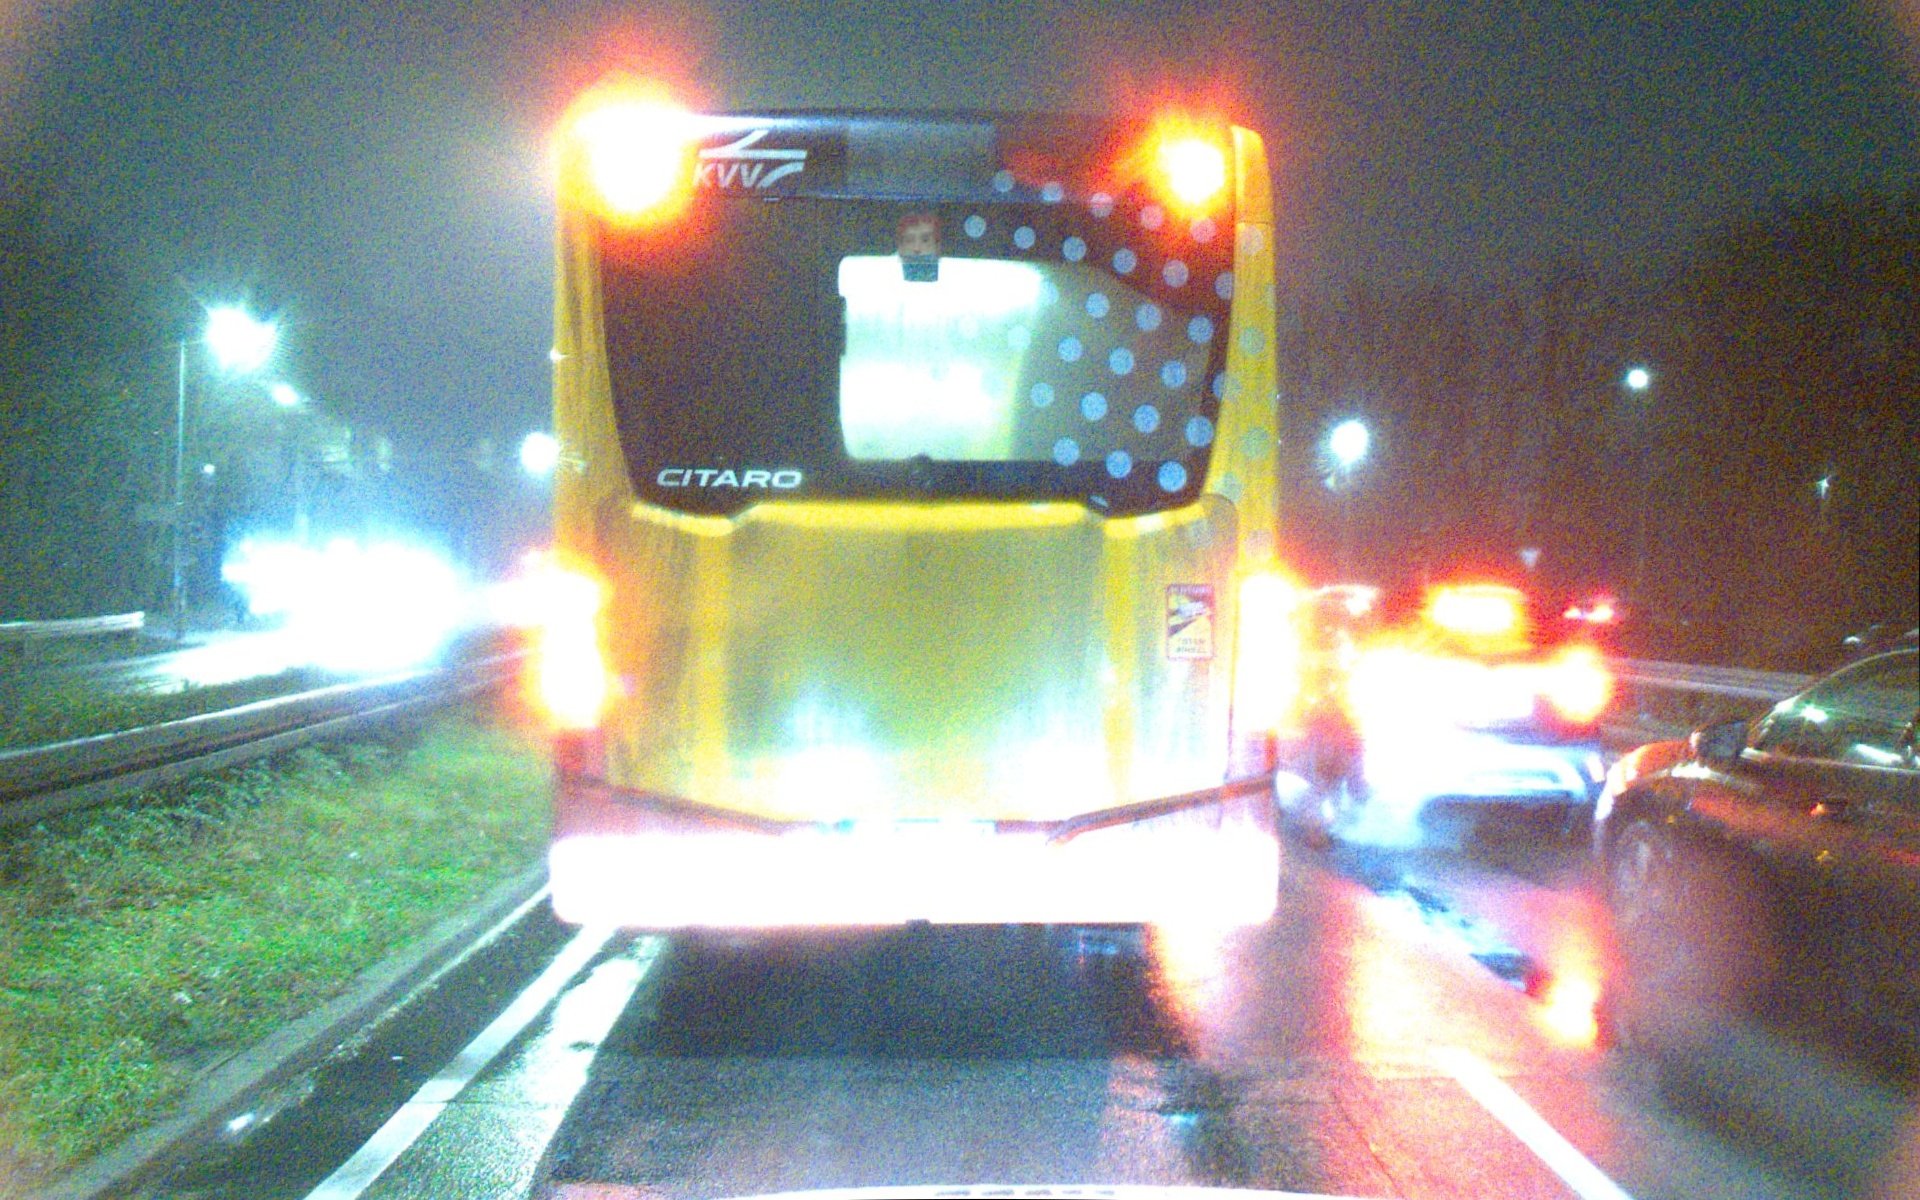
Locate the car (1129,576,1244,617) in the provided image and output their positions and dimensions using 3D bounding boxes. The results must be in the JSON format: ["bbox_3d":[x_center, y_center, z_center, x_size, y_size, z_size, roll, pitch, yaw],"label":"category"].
[{"bbox_3d":[9.388,-0.161,68.735,4.399,1.545,1.854,1,2,-9],"label":"car"}]

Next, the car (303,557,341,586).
[{"bbox_3d":[-32.728,-1.458,84.855,1.605,1.393,3.694,1,0,-24],"label":"car"}]

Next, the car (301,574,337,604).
[{"bbox_3d":[-35.948,-0.641,92.721,1.742,1.659,4.219,0,1,-23],"label":"car"}]

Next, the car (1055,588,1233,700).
[{"bbox_3d":[2.560,0.592,23.927,1.953,1.466,3.998,1,0,-3],"label":"car"}]

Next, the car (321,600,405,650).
[{"bbox_3d":[-19.502,0.792,54.240,1.959,1.534,4.824,0,0,-12],"label":"car"}]

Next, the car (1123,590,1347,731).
[{"bbox_3d":[2.873,0.587,18.066,1.652,1.353,3.959,0,0,-2],"label":"car"}]

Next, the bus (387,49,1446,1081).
[{"bbox_3d":[-0.299,-0.236,9.825,3.219,3.103,9.540,0,2,-2],"label":"bus"}]

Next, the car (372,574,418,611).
[{"bbox_3d":[-23.080,-0.301,67.543,1.686,1.448,4.641,1,0,-19],"label":"car"}]

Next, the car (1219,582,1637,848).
[{"bbox_3d":[3.089,0.690,11.764,1.644,1.548,3.957,1,0,-3],"label":"car"}]

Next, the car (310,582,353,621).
[{"bbox_3d":[-29.081,0.066,76.458,1.733,1.769,3.973,1,0,-22],"label":"car"}]

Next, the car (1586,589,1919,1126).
[{"bbox_3d":[3.569,0.753,4.886,1.639,1.532,4.558,1,0,-1],"label":"car"}]
